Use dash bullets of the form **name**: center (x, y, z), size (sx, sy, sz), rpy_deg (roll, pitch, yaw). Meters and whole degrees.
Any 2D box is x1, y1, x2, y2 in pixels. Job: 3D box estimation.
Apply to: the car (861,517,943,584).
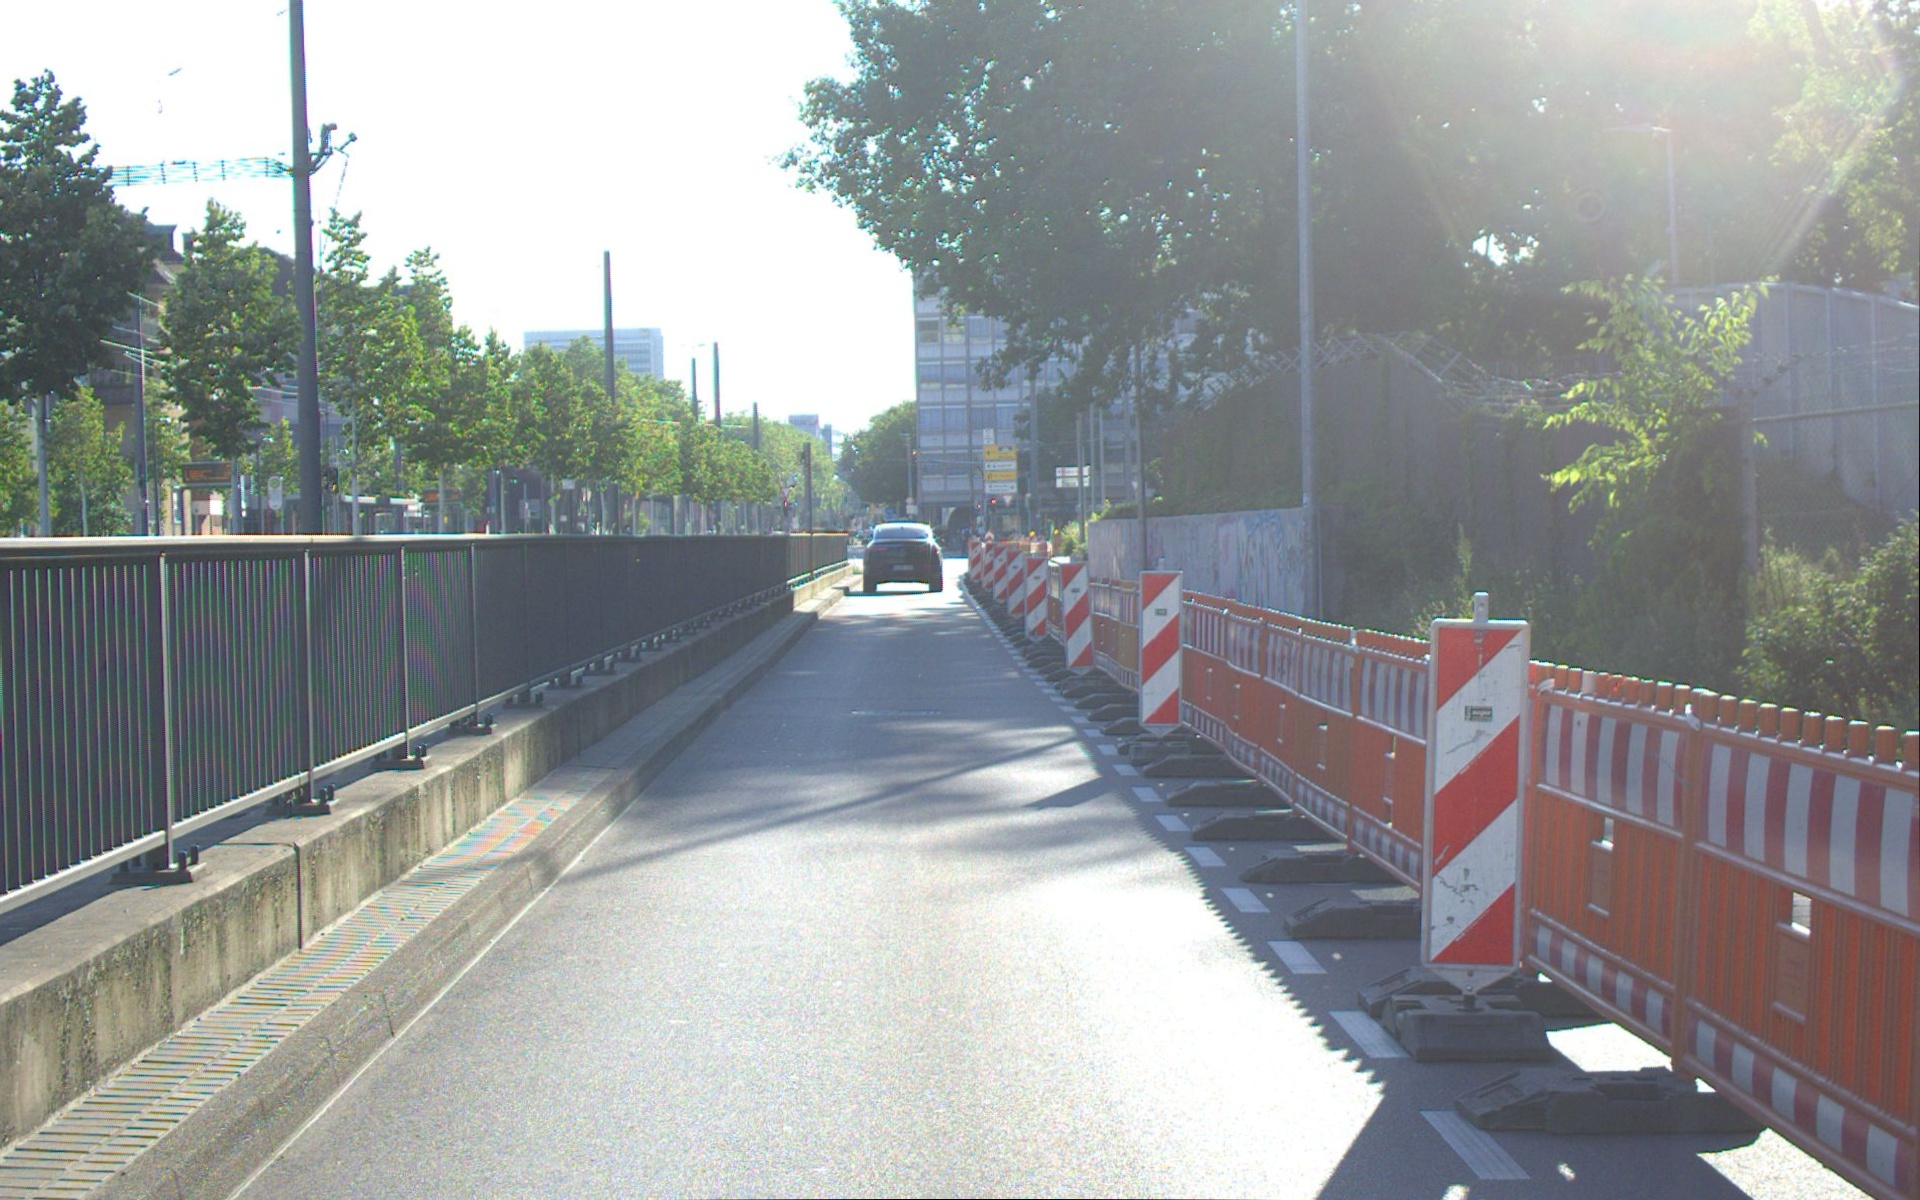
- **car**: center (-1.458, -1.264, 87.456), size (2.005, 1.653, 4.000), rpy_deg (1, 1, 0)
